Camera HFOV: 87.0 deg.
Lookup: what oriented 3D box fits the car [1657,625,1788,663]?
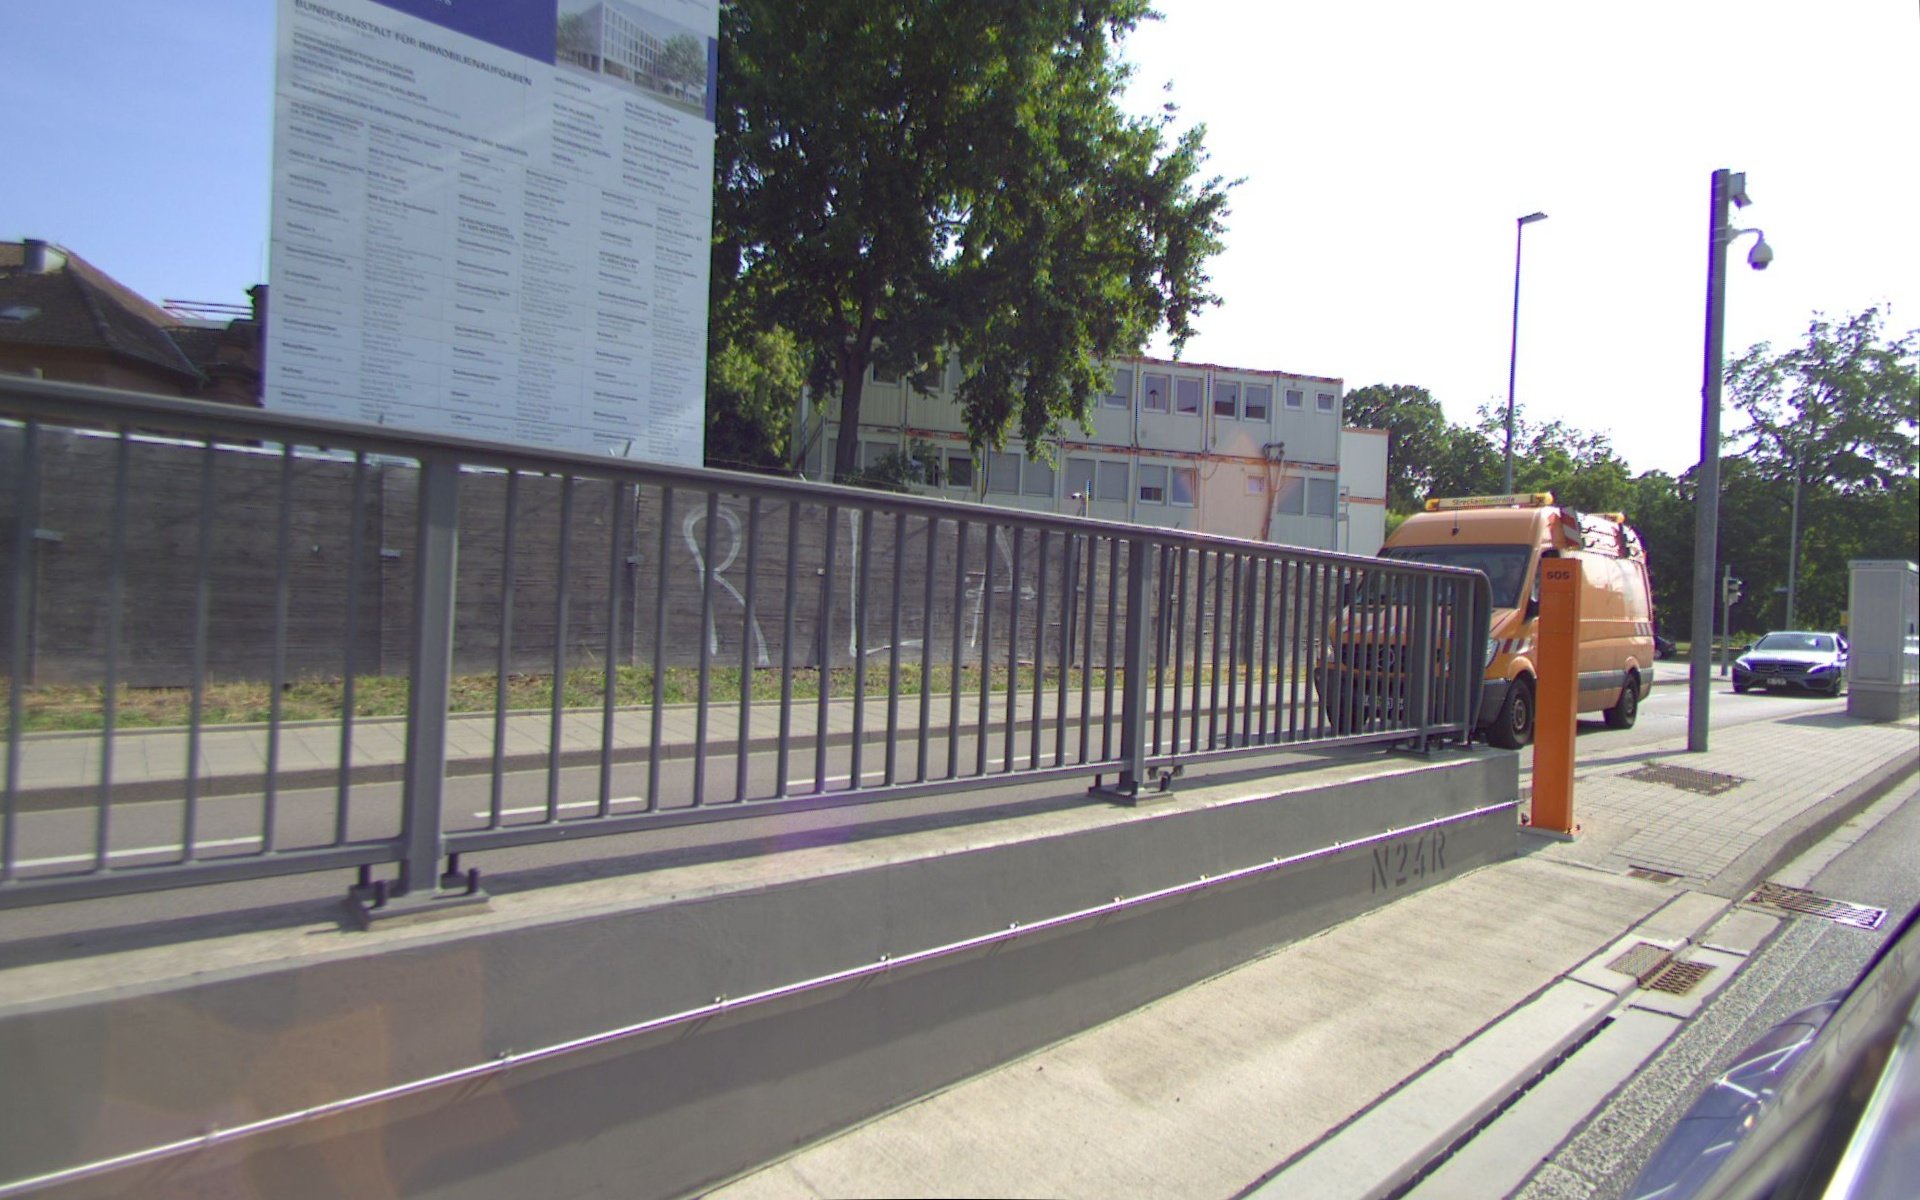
[{"bbox_3d":[33.992,1.942,45.261,1.958,1.423,4.291,2,0,-21],"label":"car"}]

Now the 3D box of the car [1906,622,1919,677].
[{"bbox_3d":[30.152,1.518,30.473,4.173,1.591,1.896,2,-1,-39],"label":"car"}]

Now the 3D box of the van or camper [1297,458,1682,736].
[{"bbox_3d":[6.433,0.070,11.848,5.954,2.504,1.989,3,-2,-41],"label":"van or camper"}]

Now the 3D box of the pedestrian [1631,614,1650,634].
[{"bbox_3d":[64.876,2.280,96.473,1.048,1.854,0.987,2,0,-9],"label":"pedestrian"}]
